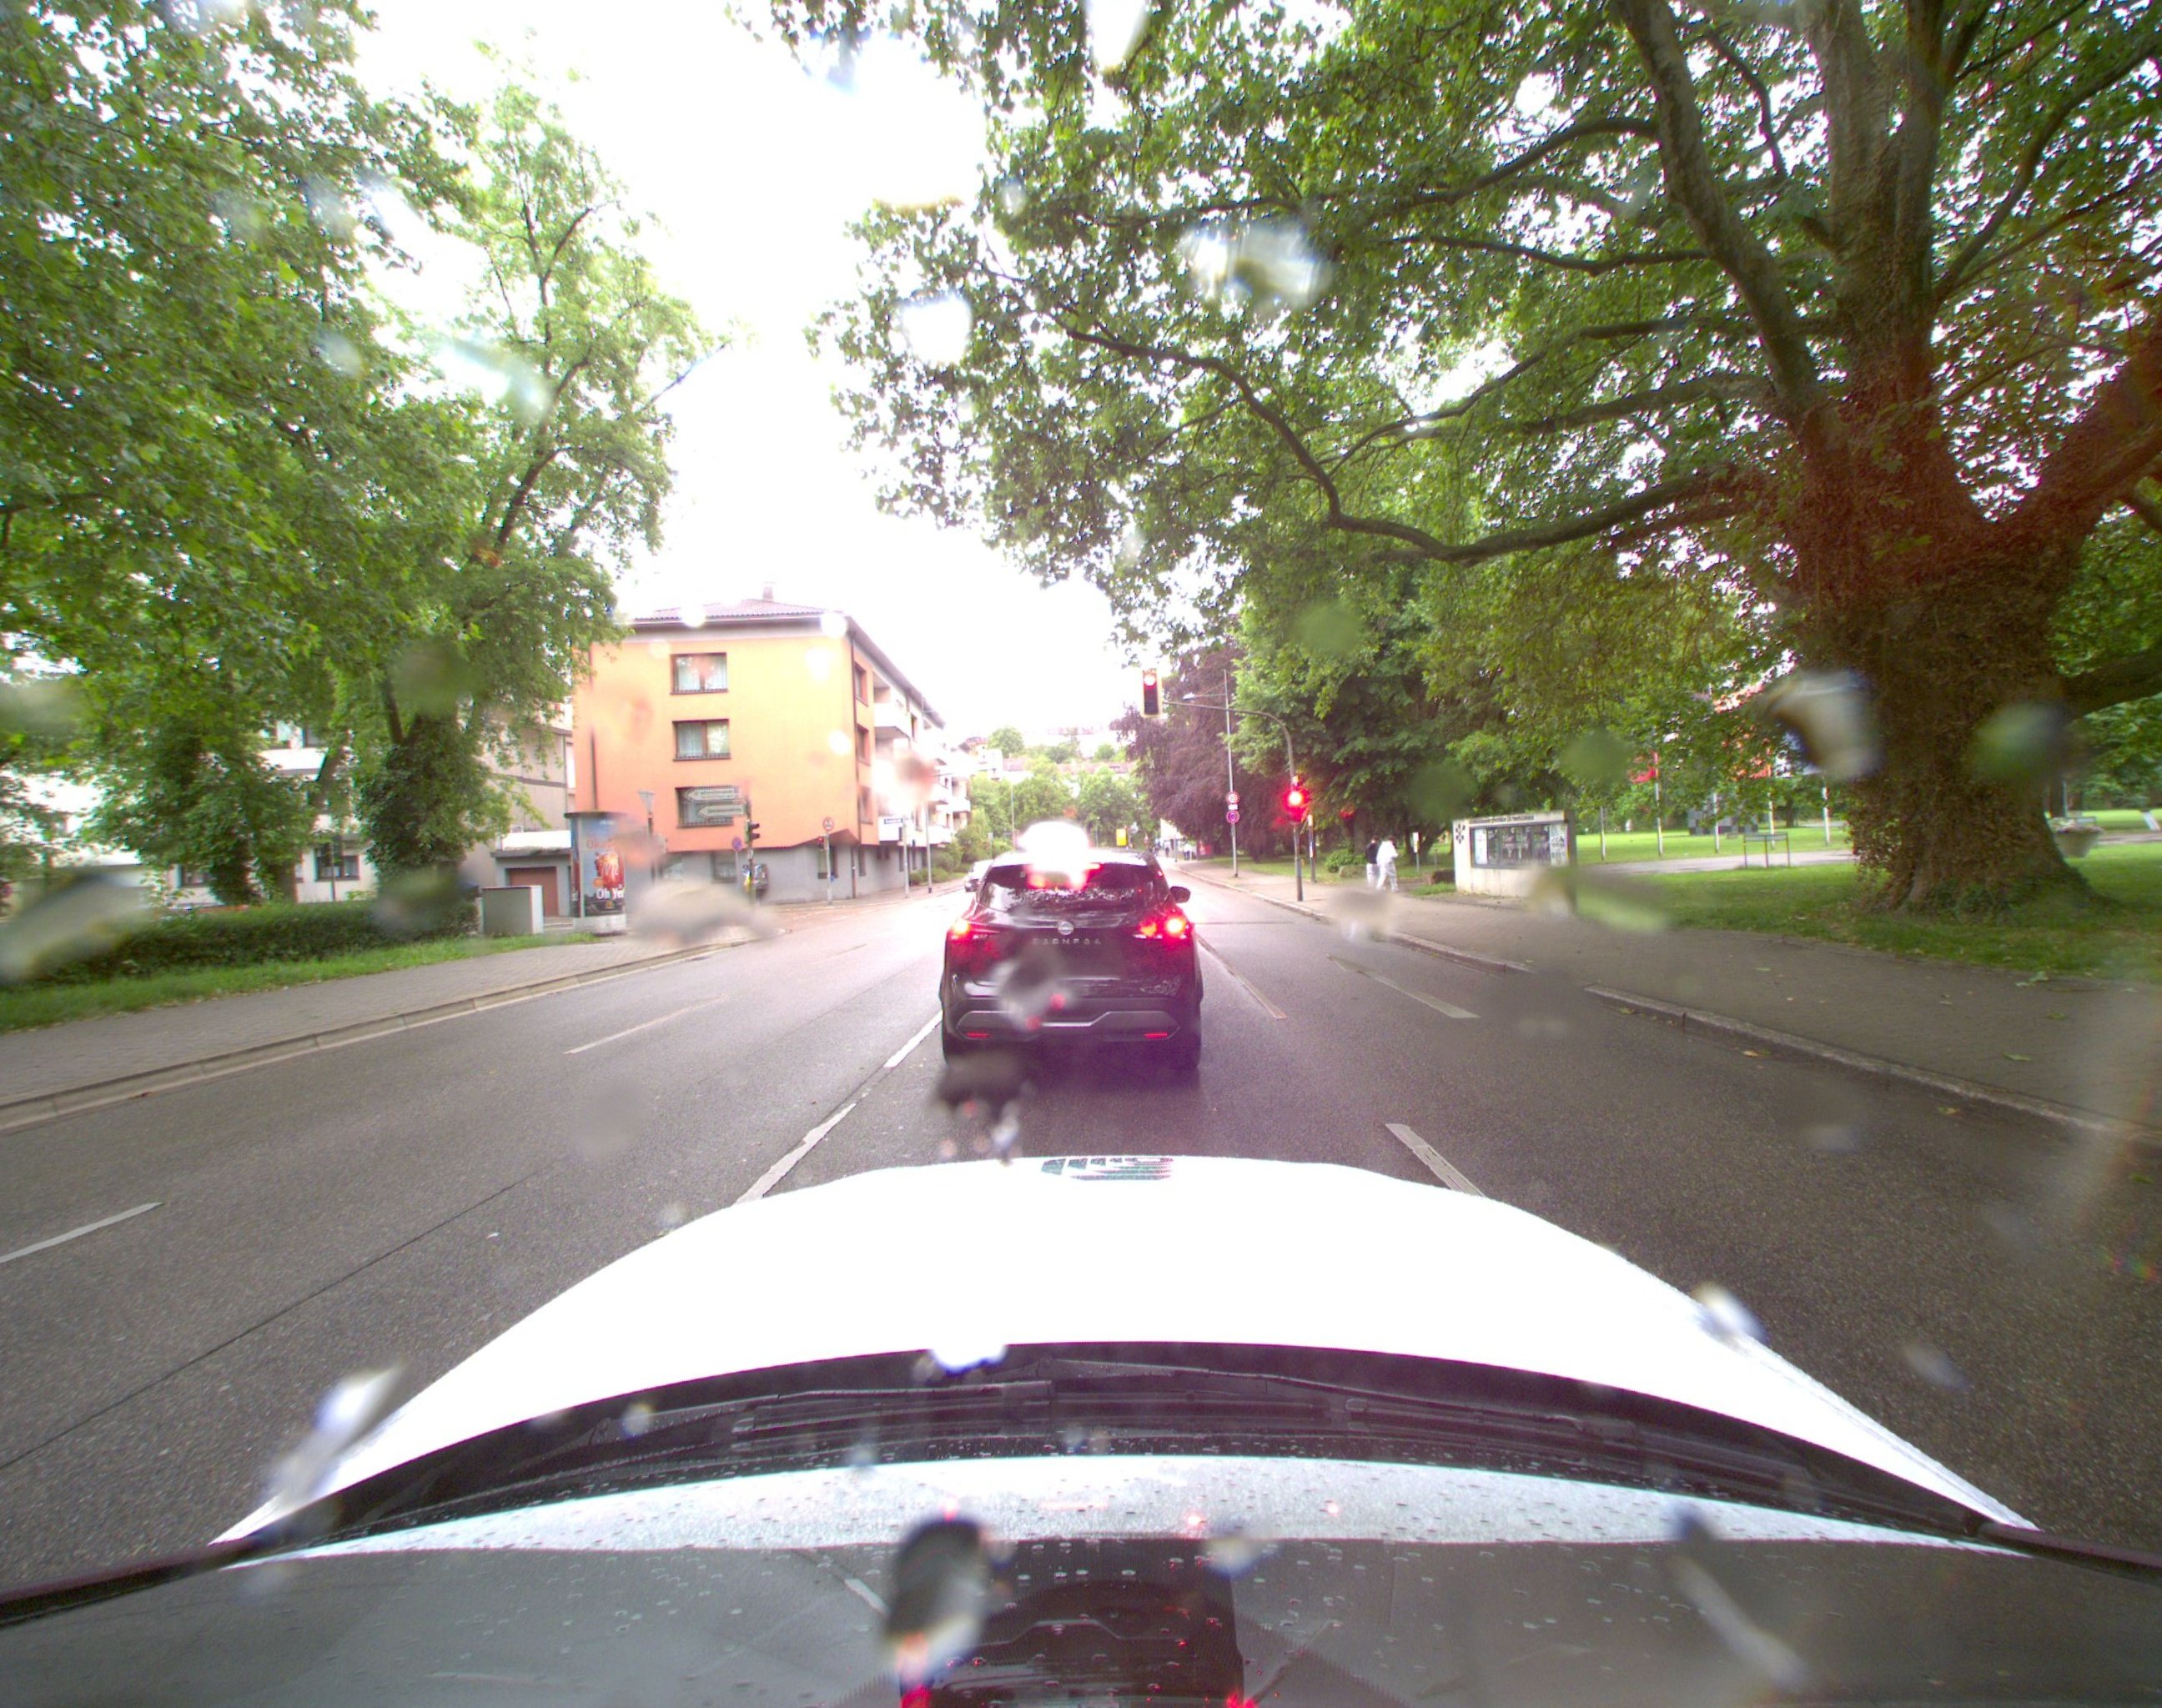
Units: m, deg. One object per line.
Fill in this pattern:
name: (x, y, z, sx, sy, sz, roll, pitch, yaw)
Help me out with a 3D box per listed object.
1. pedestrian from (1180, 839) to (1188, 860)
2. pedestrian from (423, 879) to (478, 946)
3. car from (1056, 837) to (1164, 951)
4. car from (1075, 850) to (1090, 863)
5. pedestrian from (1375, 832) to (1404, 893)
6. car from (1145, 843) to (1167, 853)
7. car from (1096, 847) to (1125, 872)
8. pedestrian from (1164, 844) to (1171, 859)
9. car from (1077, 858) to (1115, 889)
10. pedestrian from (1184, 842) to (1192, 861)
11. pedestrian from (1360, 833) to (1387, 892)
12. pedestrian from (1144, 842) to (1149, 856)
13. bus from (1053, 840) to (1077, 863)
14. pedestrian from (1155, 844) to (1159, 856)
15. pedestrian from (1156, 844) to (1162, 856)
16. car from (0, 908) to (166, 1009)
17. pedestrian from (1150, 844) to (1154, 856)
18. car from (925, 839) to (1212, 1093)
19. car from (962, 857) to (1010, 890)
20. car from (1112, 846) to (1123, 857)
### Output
pedestrian: (10.369, -0.435, 82.137, 0.672, 2.013, 0.777, -3, 0, 1)
pedestrian: (-17.376, 1.587, 22.468, 0.997, 1.742, 1.198, 0, 0, -29)
car: (0.571, 0.623, 14.737, 1.615, 1.709, 3.774, -3, 0, 3)
car: (0.190, 0.300, 98.315, 1.618, 1.415, 3.456, -3, 0, 2)
pedestrian: (8.960, 0.240, 23.689, 0.502, 1.721, 0.559, -3, 0, -5)
car: (15.070, -1.213, 163.093, 3.986, 1.684, 1.994, -3, 0, -9)
car: (1.821, 0.318, 50.195, 1.618, 1.415, 3.456, -3, 0, 2)
pedestrian: (10.500, -0.251, 98.718, 0.616, 1.779, 0.551, -3, 0, 1)
car: (0.747, 0.945, 41.213, 1.802, 1.417, 4.031, -2, 0, 1)
pedestrian: (10.200, -0.223, 77.816, 0.616, 1.779, 0.779, -3, 0, 1)
pedestrian: (8.829, 0.248, 24.622, 0.484, 1.721, 0.559, -3, 0, -5)
pedestrian: (9.942, -0.729, 124.142, 0.764, 2.183, 0.712, 0, -1, 5)
bus: (-2.294, -0.328, 119.723, 2.756, 2.974, 11.786, -3, 0, 2)
pedestrian: (10.438, -0.520, 111.877, 0.513, 1.655, 0.550, 0, -1, 1)
pedestrian: (10.774, -0.500, 112.632, 0.696, 1.651, 0.628, 0, -1, 2)
car: (-18.003, 1.740, 13.805, 3.182, 1.524, 1.507, 0, -1, -1)
pedestrian: (9.810, -0.564, 112.648, 0.542, 1.651, 0.490, 0, -1, 2)
car: (-0.017, 0.723, 7.130, 1.799, 1.590, 4.001, 0, -1, 2)
car: (-4.738, 0.965, 41.212, 1.802, 1.417, 4.031, -4, 0, 1)
car: (6.166, -0.405, 136.477, 1.743, 1.633, 3.636, -3, 0, 2)
